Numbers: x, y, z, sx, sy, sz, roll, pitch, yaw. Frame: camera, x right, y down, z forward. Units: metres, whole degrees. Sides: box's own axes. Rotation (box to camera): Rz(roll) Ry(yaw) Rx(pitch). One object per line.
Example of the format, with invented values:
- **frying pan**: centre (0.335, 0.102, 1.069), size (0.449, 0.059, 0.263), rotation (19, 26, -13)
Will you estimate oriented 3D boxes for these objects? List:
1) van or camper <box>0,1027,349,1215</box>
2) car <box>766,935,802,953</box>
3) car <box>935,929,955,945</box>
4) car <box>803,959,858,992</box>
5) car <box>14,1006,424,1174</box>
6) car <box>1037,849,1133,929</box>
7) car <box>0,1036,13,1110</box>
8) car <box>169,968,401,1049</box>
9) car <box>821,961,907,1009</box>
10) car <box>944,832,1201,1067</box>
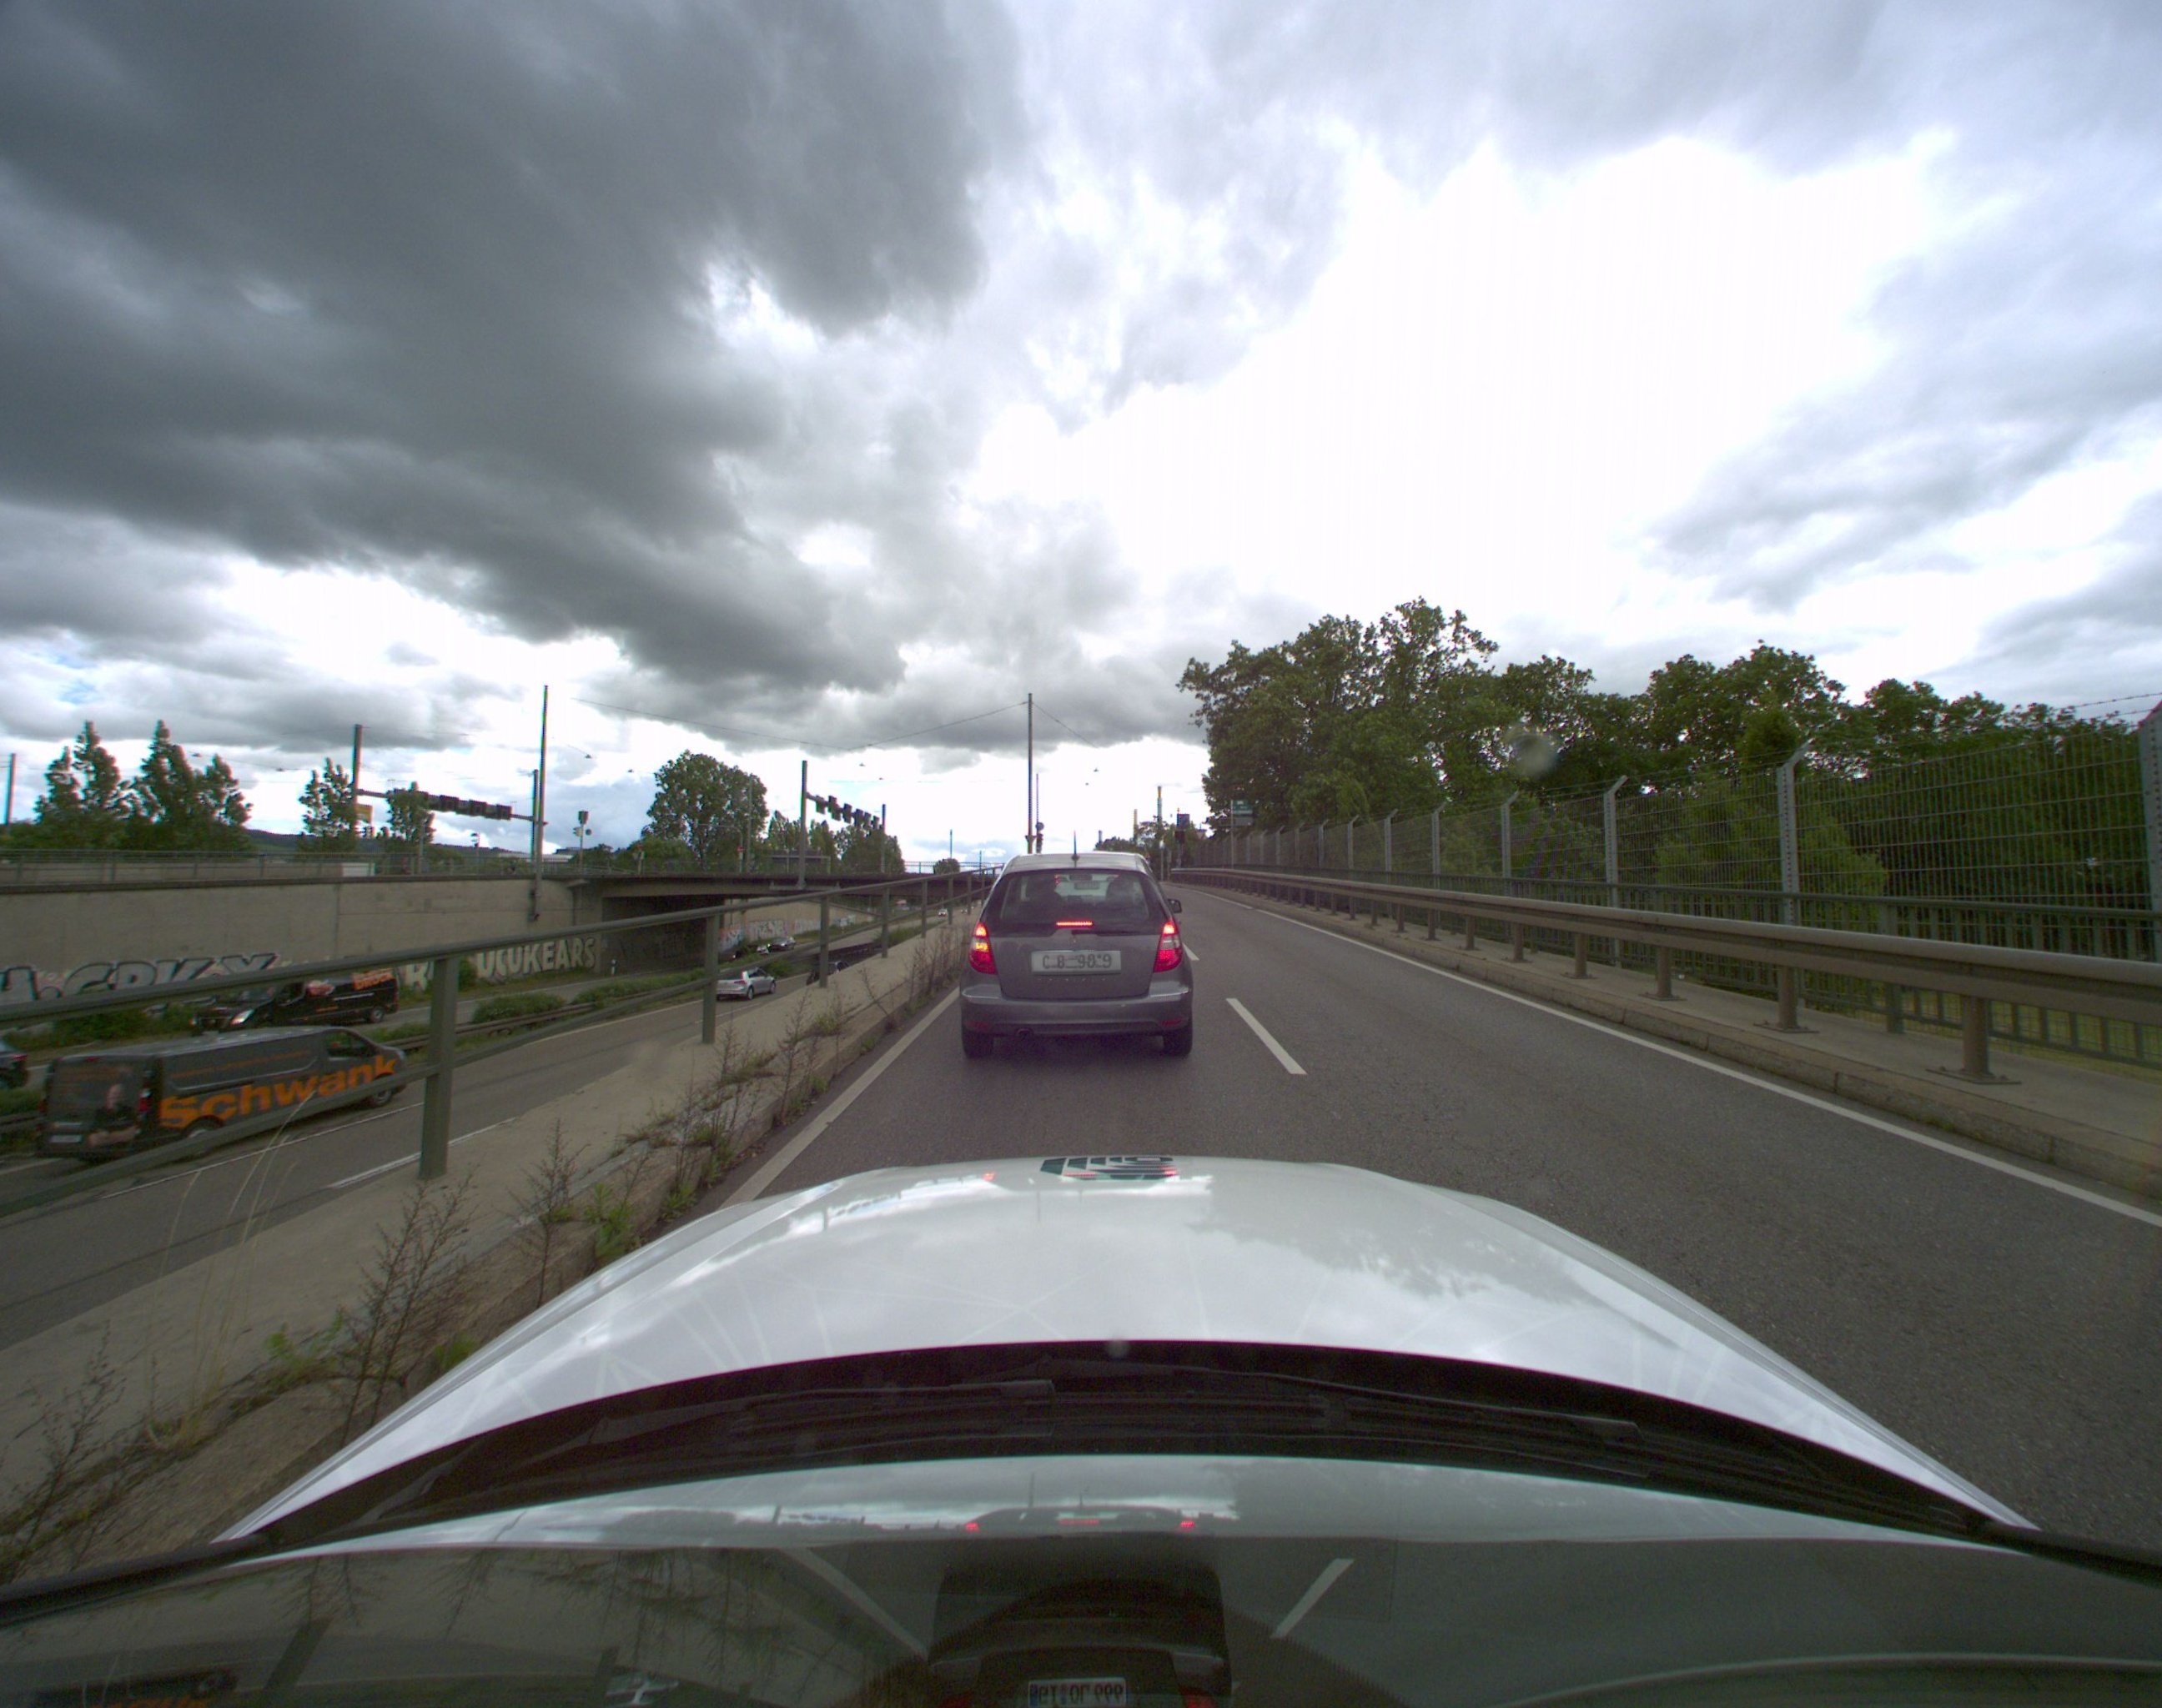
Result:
- **van or camper**: centre (-16.228, 4.332, 13.680), size (1.875, 1.869, 6.348), rotation (0, -4, 2)
- **car**: centre (-29.929, 9.086, 82.183), size (1.987, 1.662, 3.999), rotation (0, -4, 1)
- **car**: centre (-16.106, 9.830, 96.548), size (1.850, 1.500, 3.996), rotation (-1, 0, -2)
- **car**: centre (-12.751, 6.158, 41.612), size (1.719, 1.327, 3.645), rotation (-1, -4, -1)
- **car**: centre (-16.108, 4.323, 15.864), size (2.086, 2.014, 5.339), rotation (-1, -4, 2)
- **car**: centre (0.133, 0.728, 19.148), size (1.986, 1.603, 4.002), rotation (-1, 1, 1)
- **car**: centre (-25.771, 4.921, 16.820), size (1.987, 1.662, 3.999), rotation (0, -4, 1)
- **car**: centre (-29.010, 5.558, 30.135), size (2.282, 2.156, 6.183), rotation (-1, -4, 1)
- **car**: centre (-9.336, 5.639, 35.407), size (1.923, 1.501, 4.315), rotation (-2, -3, 10)
- **car**: centre (0.160, 0.714, 7.640), size (1.741, 1.581, 4.092), rotation (-2, -2, 6)
